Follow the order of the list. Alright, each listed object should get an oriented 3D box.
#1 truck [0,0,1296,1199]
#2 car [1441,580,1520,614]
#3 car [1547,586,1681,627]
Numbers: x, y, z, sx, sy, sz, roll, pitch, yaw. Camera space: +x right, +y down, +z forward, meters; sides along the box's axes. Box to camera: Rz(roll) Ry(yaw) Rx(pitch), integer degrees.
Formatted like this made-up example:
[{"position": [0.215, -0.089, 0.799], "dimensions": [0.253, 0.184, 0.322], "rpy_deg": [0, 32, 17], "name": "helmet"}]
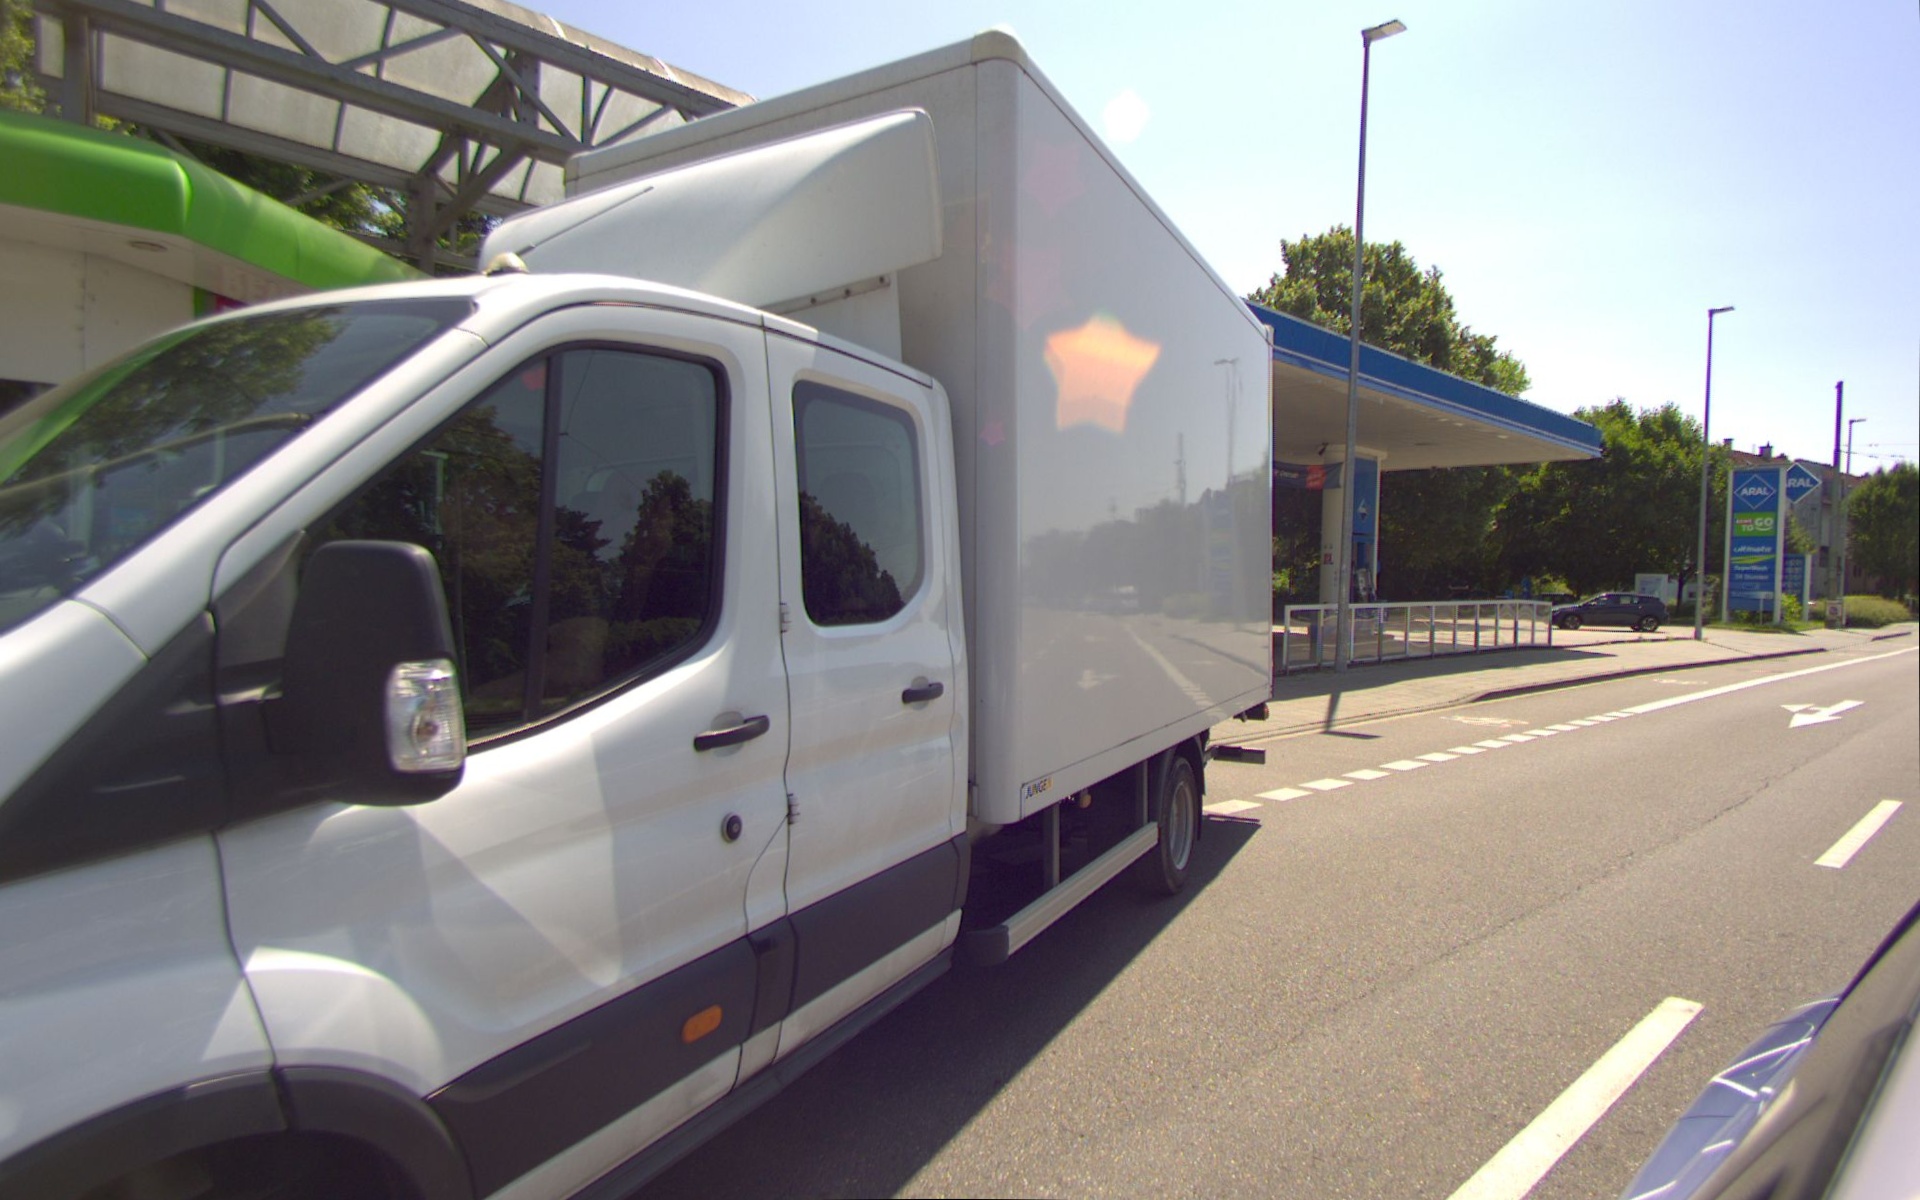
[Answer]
[{"position": [-0.536, -0.313, 4.410], "dimensions": [2.406, 3.433, 7.755], "rpy_deg": [2, 1, 29], "name": "truck"}, {"position": [27.579, -0.190, 53.598], "dimensions": [4.328, 1.683, 2.000], "rpy_deg": [-1, 2, -37], "name": "car"}, {"position": [25.316, 0.208, 39.330], "dimensions": [4.095, 1.439, 1.706], "rpy_deg": [2, 1, 23], "name": "car"}]
